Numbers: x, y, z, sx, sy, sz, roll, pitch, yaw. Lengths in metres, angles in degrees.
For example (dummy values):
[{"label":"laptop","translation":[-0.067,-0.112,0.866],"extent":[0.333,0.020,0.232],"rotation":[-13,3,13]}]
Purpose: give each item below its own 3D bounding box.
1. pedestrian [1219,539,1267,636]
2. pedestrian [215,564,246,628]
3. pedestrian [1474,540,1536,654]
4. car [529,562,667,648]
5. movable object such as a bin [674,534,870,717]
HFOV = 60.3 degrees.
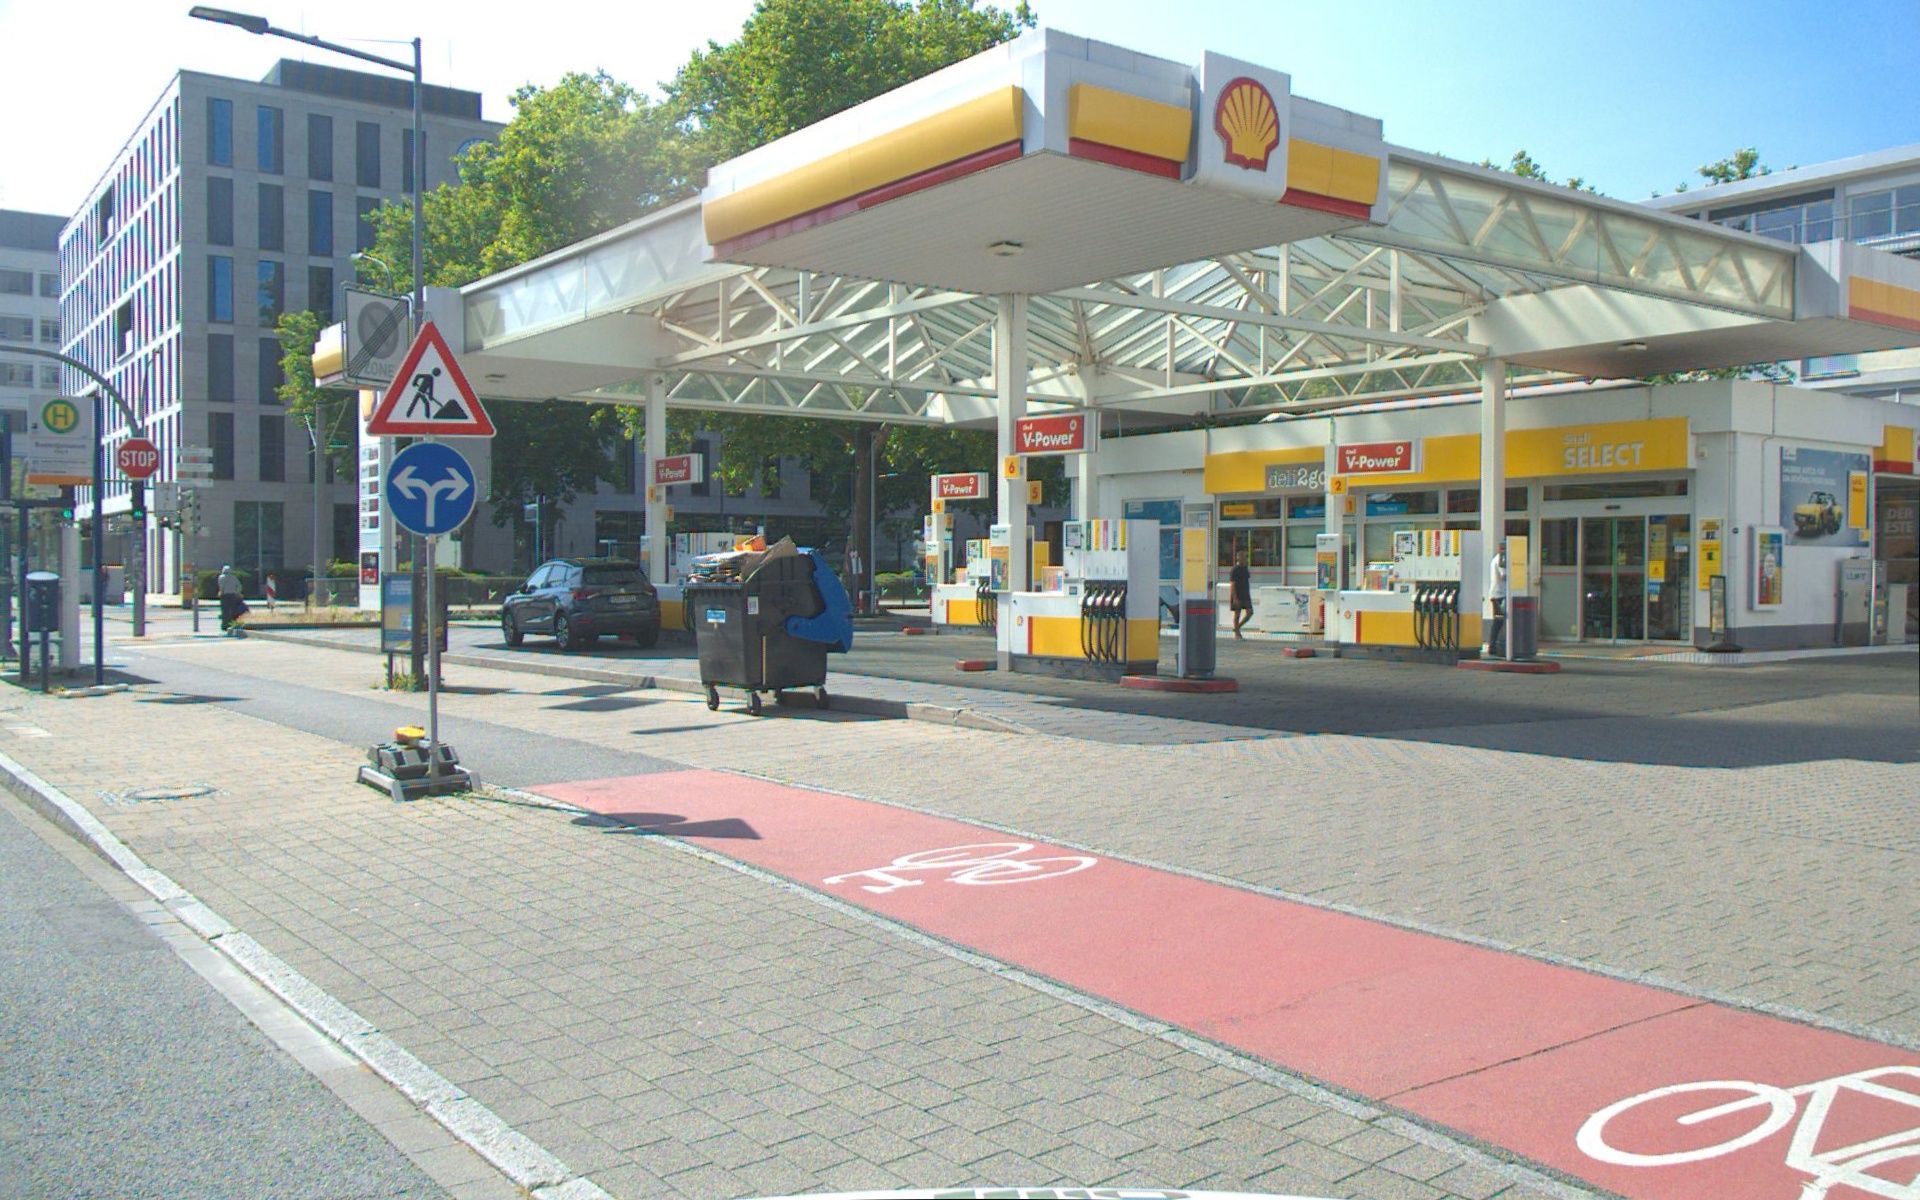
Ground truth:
[{"label":"pedestrian","translation":[5.480,-0.237,32.047],"extent":[0.666,1.853,0.624],"rotation":[0,0,-30]},{"label":"pedestrian","translation":[-18.165,-0.109,41.193],"extent":[0.614,1.570,0.455],"rotation":[0,0,-38]},{"label":"pedestrian","translation":[9.103,-0.054,27.622],"extent":[0.840,1.870,0.743],"rotation":[0,0,32]},{"label":"car","translation":[-6.491,0.068,29.406],"extent":[1.630,1.422,3.611],"rotation":[0,1,-26]},{"label":"movable object such as a bin","translation":[-1.806,0.207,15.863],"extent":[1.299,1.619,1.376],"rotation":[-4,3,-39]}]
